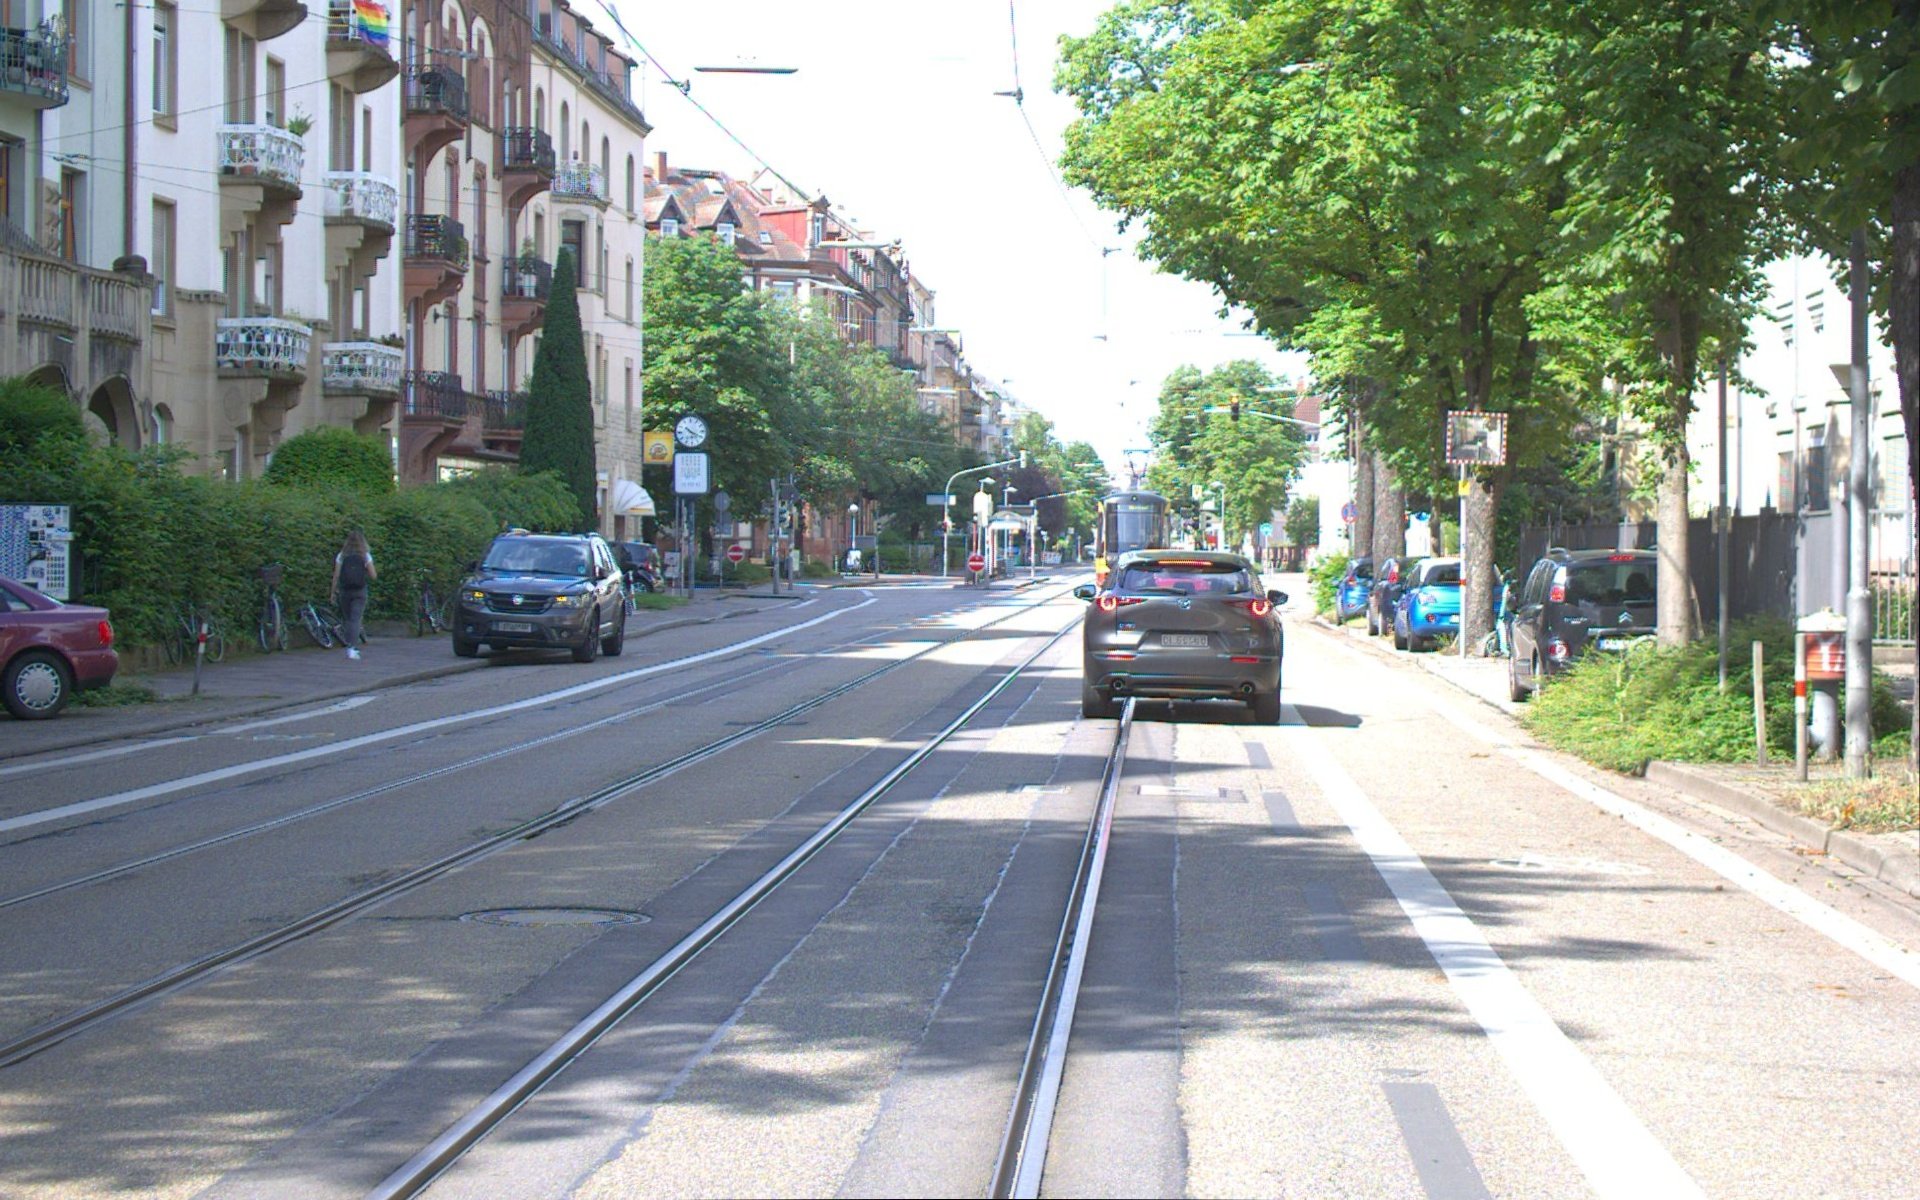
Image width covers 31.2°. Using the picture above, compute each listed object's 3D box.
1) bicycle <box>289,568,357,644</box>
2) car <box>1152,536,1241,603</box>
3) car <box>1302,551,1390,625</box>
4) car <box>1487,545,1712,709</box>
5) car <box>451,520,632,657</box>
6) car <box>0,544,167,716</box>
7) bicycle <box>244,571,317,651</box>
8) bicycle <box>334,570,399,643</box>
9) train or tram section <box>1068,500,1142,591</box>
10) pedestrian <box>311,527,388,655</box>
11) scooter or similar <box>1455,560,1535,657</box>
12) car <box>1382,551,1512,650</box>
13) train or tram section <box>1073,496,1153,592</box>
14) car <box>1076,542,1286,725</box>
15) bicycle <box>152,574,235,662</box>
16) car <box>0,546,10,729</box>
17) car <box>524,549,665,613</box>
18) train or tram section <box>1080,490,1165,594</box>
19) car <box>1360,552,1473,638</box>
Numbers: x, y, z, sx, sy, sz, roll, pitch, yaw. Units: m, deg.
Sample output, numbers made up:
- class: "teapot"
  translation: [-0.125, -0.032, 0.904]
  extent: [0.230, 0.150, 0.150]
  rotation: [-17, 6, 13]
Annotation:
- class: "bicycle"
  translation: [-8.443, 0.074, 45.601]
  extent: [0.383, 0.956, 1.809]
  rotation: [2, 1, 5]
- class: "car"
  translation: [5.464, -0.728, 79.870]
  extent: [1.785, 1.487, 4.883]
  rotation: [0, 1, 1]
- class: "car"
  translation: [8.154, -0.270, 72.900]
  extent: [1.624, 1.491, 3.847]
  rotation: [-1, 1, 3]
- class: "car"
  translation: [6.628, 0.242, 35.999]
  extent: [1.697, 1.585, 4.203]
  rotation: [-1, 1, 2]
- class: "car"
  translation: [-5.640, -0.200, 46.824]
  extent: [1.785, 1.756, 4.883]
  rotation: [0, 1, 1]
- class: "car"
  translation: [-9.335, 0.302, 30.670]
  extent: [3.959, 1.479, 1.846]
  rotation: [-2, 1, -39]
- class: "bicycle"
  translation: [-8.591, 0.129, 43.515]
  extent: [0.383, 0.956, 1.809]
  rotation: [2, 1, 5]
- class: "bicycle"
  translation: [-8.234, 0.074, 47.730]
  extent: [0.383, 0.956, 1.921]
  rotation: [2, 1, 5]
- class: "train or tram section"
  translation: [5.768, -2.155, 137.906]
  extent: [2.652, 3.516, 8.497]
  rotation: [0, 0, 0]
- class: "pedestrian"
  translation: [-7.674, -0.119, 43.251]
  extent: [0.680, 1.563, 0.882]
  rotation: [3, 1, 6]
- class: "scooter or similar"
  translation: [7.431, 0.113, 47.767]
  extent: [0.440, 1.295, 1.182]
  rotation: [-4, 3, -27]
- class: "car"
  translation: [7.699, -0.020, 54.637]
  extent: [1.640, 1.491, 3.627]
  rotation: [-1, 1, 2]
- class: "train or tram section"
  translation: [5.714, -2.075, 129.417]
  extent: [2.652, 3.516, 8.497]
  rotation: [0, 0, 0]
- class: "car"
  translation: [2.024, 0.260, 32.238]
  extent: [1.789, 1.507, 4.351]
  rotation: [2, 2, 2]
- class: "bicycle"
  translation: [-8.899, 0.198, 39.975]
  extent: [0.383, 0.956, 1.809]
  rotation: [2, 1, 5]
- class: "car"
  translation: [-9.783, 0.370, 27.536]
  extent: [3.796, 1.479, 1.697]
  rotation: [-2, 1, -36]
- class: "car"
  translation: [-9.370, -0.493, 88.204]
  extent: [3.237, 1.508, 1.678]
  rotation: [2, 1, 7]
- class: "train or tram section"
  translation: [5.665, -1.993, 120.930]
  extent: [2.652, 3.516, 8.497]
  rotation: [0, 0, 0]
- class: "car"
  translation: [8.282, -0.110, 62.587]
  extent: [1.639, 1.491, 3.758]
  rotation: [-1, 1, 1]
